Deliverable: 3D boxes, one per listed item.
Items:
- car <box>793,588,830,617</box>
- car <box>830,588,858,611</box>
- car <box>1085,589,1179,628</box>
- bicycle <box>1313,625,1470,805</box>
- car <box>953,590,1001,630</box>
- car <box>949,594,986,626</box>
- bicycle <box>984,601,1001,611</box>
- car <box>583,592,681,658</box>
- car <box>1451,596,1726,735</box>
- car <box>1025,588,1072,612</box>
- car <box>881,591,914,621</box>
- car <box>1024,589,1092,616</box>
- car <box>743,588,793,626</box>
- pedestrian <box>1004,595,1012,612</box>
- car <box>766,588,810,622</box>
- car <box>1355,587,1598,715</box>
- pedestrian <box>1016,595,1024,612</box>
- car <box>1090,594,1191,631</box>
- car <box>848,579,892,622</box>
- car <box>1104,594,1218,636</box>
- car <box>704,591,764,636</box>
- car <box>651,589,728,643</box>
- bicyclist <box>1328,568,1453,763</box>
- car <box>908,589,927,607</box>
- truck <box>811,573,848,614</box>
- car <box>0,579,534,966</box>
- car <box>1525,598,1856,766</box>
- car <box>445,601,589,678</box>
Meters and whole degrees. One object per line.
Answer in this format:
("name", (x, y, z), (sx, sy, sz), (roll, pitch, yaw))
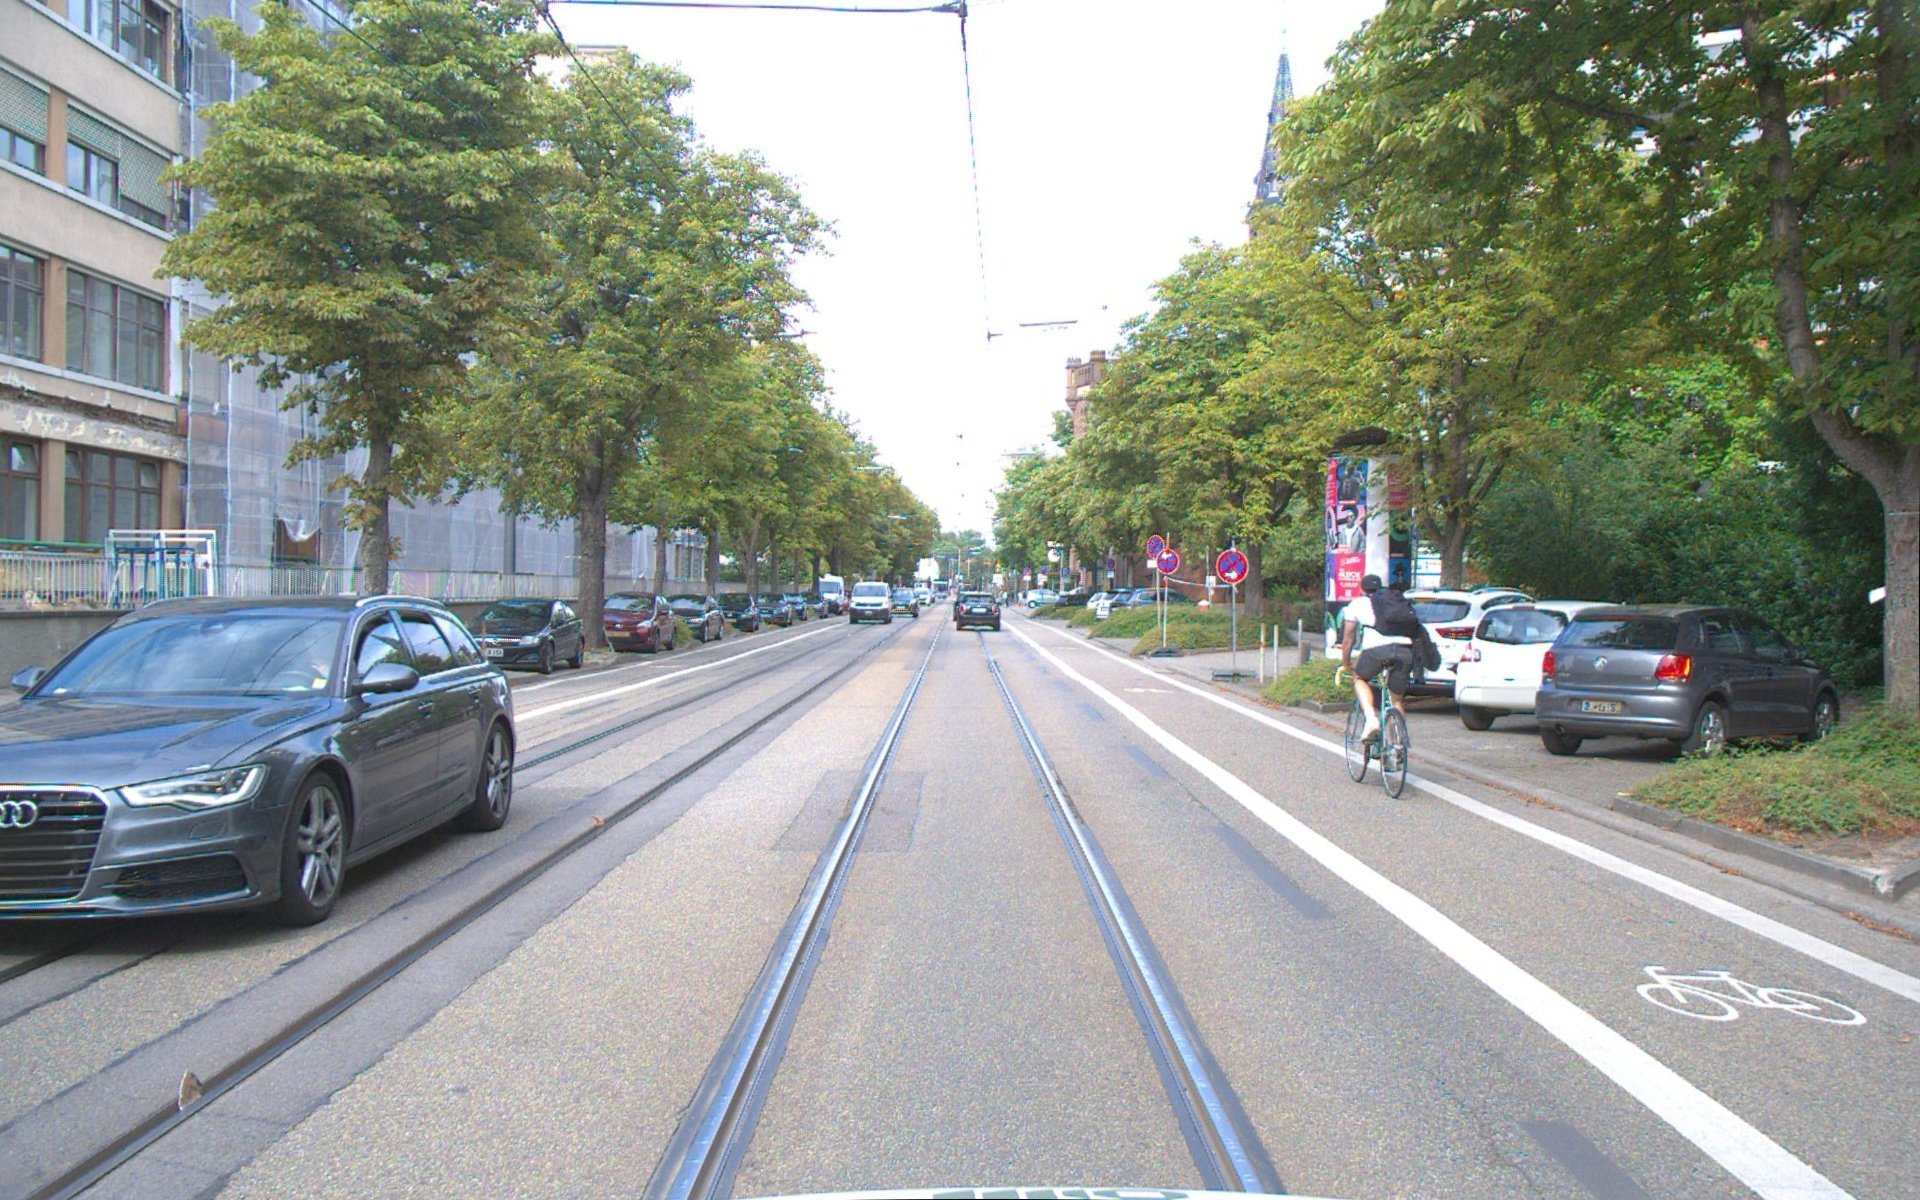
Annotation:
("car", (-8.338, 0.125, 92.952), (1.766, 1.611, 4.030), (0, 0, -1))
("car", (-8.309, -0.061, 118.557), (1.766, 1.611, 4.030), (0, 0, -1))
("car", (7.623, 0.348, 73.447), (3.907, 1.656, 1.884), (1, 0, -3))
("bicycle", (3.445, 0.874, 13.402), (0.644, 1.270, 2.124), (1, 0, -1))
("car", (0.627, 0.352, 64.155), (1.757, 1.448, 3.999), (1, 0, -1))
("car", (0.366, 0.508, 83.892), (1.757, 1.495, 4.000), (2, 0, 0))
("bicycle", (3.305, 0.626, 167.226), (1.684, 1.009, 0.659), (2, 0, 8))
("car", (-8.427, 0.612, 42.746), (1.766, 1.611, 4.030), (0, 0, -1))
("car", (7.419, 0.715, 19.429), (3.414, 1.468, 1.538), (1, 0, -39))
("car", (7.776, -0.010, 145.263), (3.907, 1.944, 1.999), (2, 0, -3))
("car", (-3.581, 0.320, 94.931), (1.766, 1.650, 4.484), (0, 0, -1))
("car", (5.846, 0.148, 99.067), (3.907, 1.534, 1.884), (1, 0, -3))
("car", (-8.381, 0.280, 72.586), (1.766, 1.611, 4.030), (0, 0, -1))
("pedestrian", (4.879, 0.342, 167.139), (0.711, 1.674, 0.767), (1, 0, 10))
("car", (-8.421, 0.214, 81.158), (1.766, 1.611, 4.030), (0, 0, -1))
("car", (7.069, 0.648, 22.526), (3.414, 1.600, 1.538), (1, 0, -39))
("pedestrian", (6.061, 0.369, 167.670), (0.711, 1.674, 0.767), (1, 0, 10))
("car", (7.401, 0.489, 68.042), (3.907, 1.450, 1.884), (1, 0, -3))
("car", (-4.034, 0.003, 74.378), (1.766, 1.855, 4.484), (0, 0, -1))
("car", (7.404, 0.546, 61.140), (3.907, 1.450, 1.884), (1, 0, -3))
("car", (-8.490, 0.481, 62.350), (1.766, 1.611, 4.030), (0, 0, -1))
("car", (-8.389, 0.464, 51.617), (1.766, 1.611, 4.030), (0, 0, -1))
("bicyclist", (3.457, 0.504, 13.363), (0.644, 1.489, 1.178), (1, 0, -1))
("car", (-4.090, -0.212, 160.557), (1.766, 1.650, 4.484), (0, 0, -1))
("truck", (-8.335, -0.407, 106.025), (2.029, 2.513, 4.898), (0, 0, -1))
("car", (-3.690, 0.645, 8.620), (1.797, 1.473, 4.553), (1, 0, -1))
("car", (7.282, 0.739, 16.377), (3.501, 1.468, 1.601), (1, 0, -39))
("car", (-8.581, 0.723, 32.352), (1.766, 1.398, 4.030), (0, 0, -1))
